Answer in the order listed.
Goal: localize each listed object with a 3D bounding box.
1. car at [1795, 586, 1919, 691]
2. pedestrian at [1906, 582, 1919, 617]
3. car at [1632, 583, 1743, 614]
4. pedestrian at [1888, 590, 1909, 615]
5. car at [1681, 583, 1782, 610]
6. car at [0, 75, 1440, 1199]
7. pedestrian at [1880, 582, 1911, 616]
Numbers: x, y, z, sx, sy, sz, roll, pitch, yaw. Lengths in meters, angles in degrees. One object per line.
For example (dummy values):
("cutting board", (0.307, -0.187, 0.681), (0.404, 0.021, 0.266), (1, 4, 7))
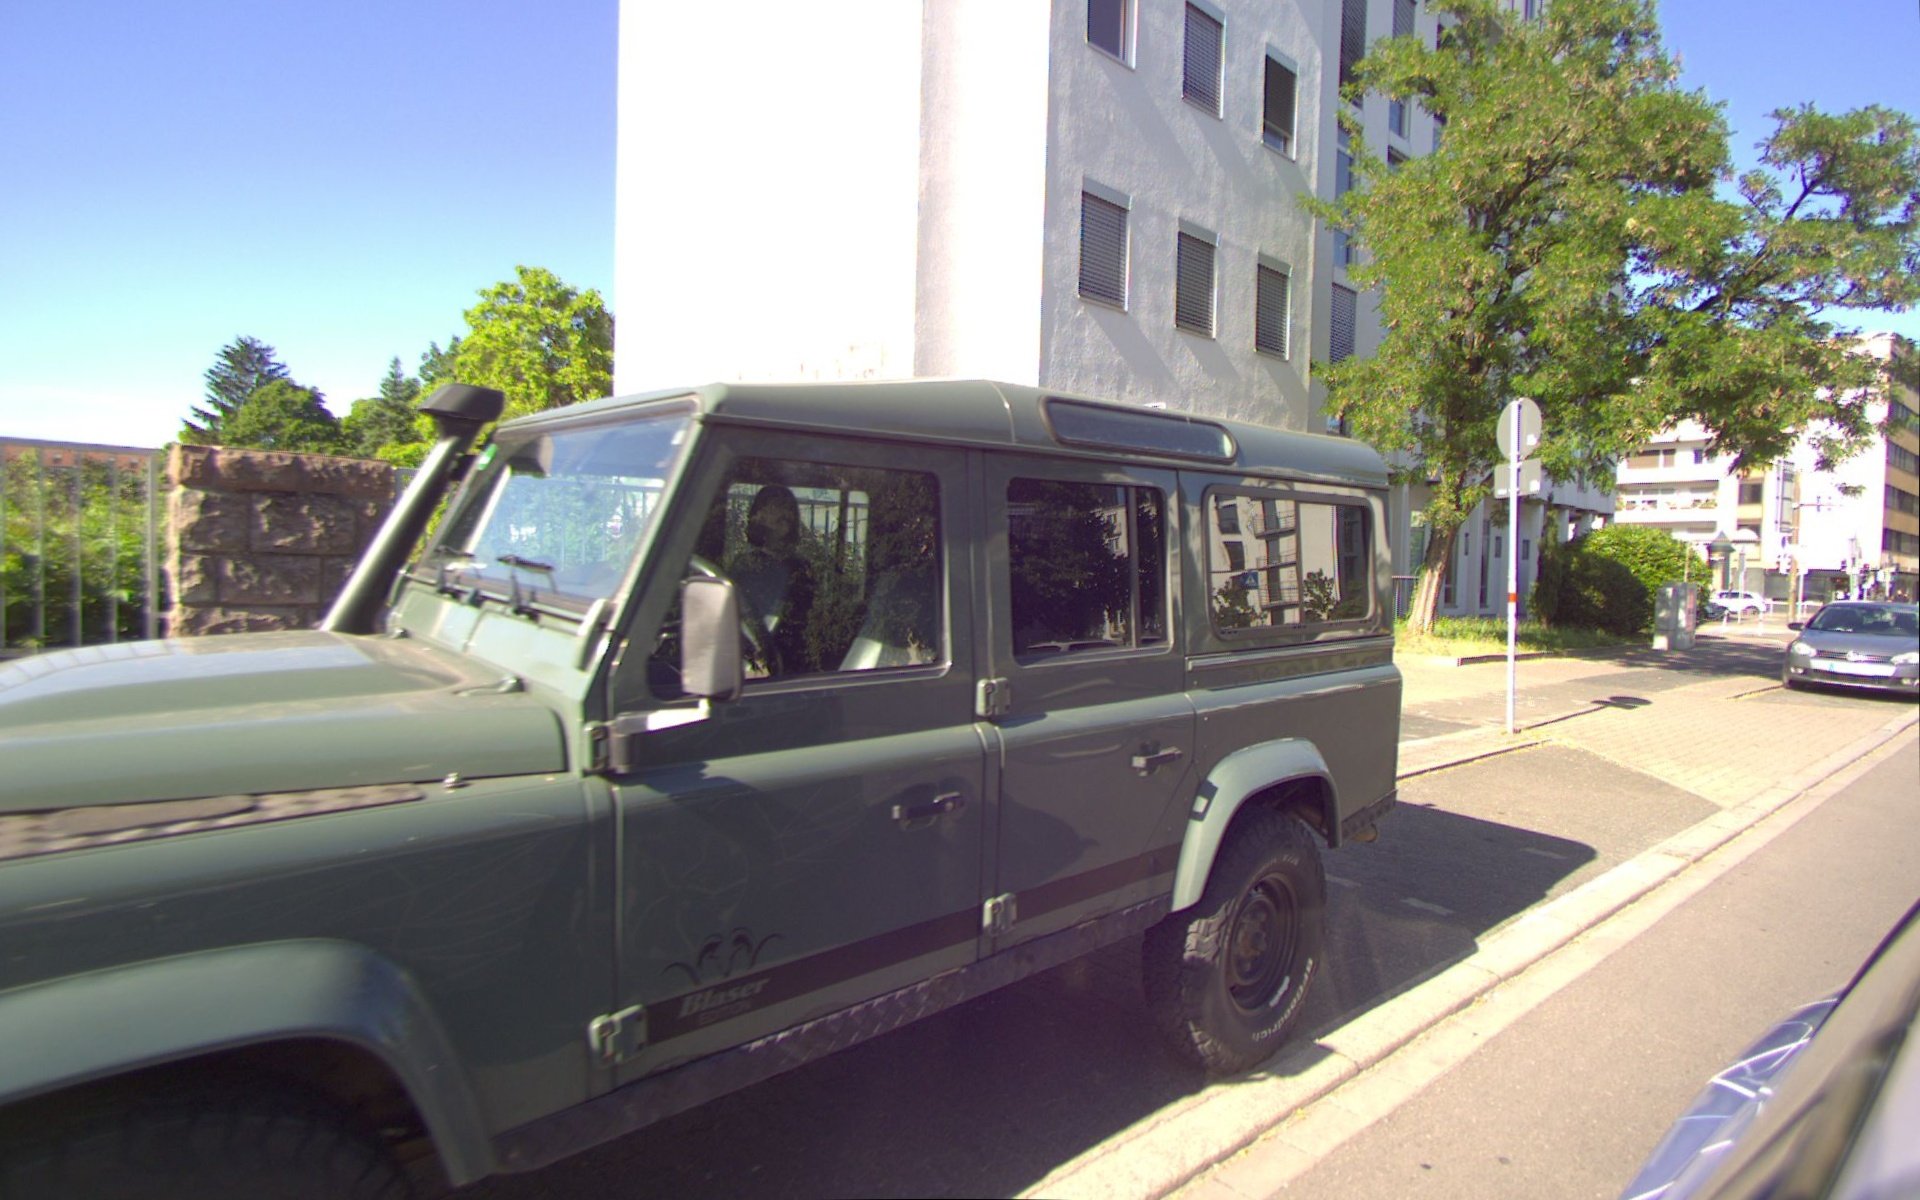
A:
("car", (14.975, 0.614, 16.283), (4.081, 1.466, 1.641), (2, 1, -40))
("pedestrian", (46.441, -0.036, 48.906), (0.707, 1.642, 0.899), (-3, 2, -30))
("car", (35.920, -0.089, 50.067), (1.848, 1.425, 4.059), (-1, 2, -34))
("pedestrian", (46.288, 0.128, 49.899), (0.516, 1.217, 0.649), (-3, 2, -30))
("car", (47.266, -0.211, 62.105), (4.493, 1.538, 1.872), (2, 0, 20))
("car", (-0.580, 0.343, 2.827), (4.693, 2.038, 1.664), (0, 3, -41))
("pedestrian", (48.367, -0.063, 52.353), (0.786, 1.663, 0.980), (-1, 2, 15))
